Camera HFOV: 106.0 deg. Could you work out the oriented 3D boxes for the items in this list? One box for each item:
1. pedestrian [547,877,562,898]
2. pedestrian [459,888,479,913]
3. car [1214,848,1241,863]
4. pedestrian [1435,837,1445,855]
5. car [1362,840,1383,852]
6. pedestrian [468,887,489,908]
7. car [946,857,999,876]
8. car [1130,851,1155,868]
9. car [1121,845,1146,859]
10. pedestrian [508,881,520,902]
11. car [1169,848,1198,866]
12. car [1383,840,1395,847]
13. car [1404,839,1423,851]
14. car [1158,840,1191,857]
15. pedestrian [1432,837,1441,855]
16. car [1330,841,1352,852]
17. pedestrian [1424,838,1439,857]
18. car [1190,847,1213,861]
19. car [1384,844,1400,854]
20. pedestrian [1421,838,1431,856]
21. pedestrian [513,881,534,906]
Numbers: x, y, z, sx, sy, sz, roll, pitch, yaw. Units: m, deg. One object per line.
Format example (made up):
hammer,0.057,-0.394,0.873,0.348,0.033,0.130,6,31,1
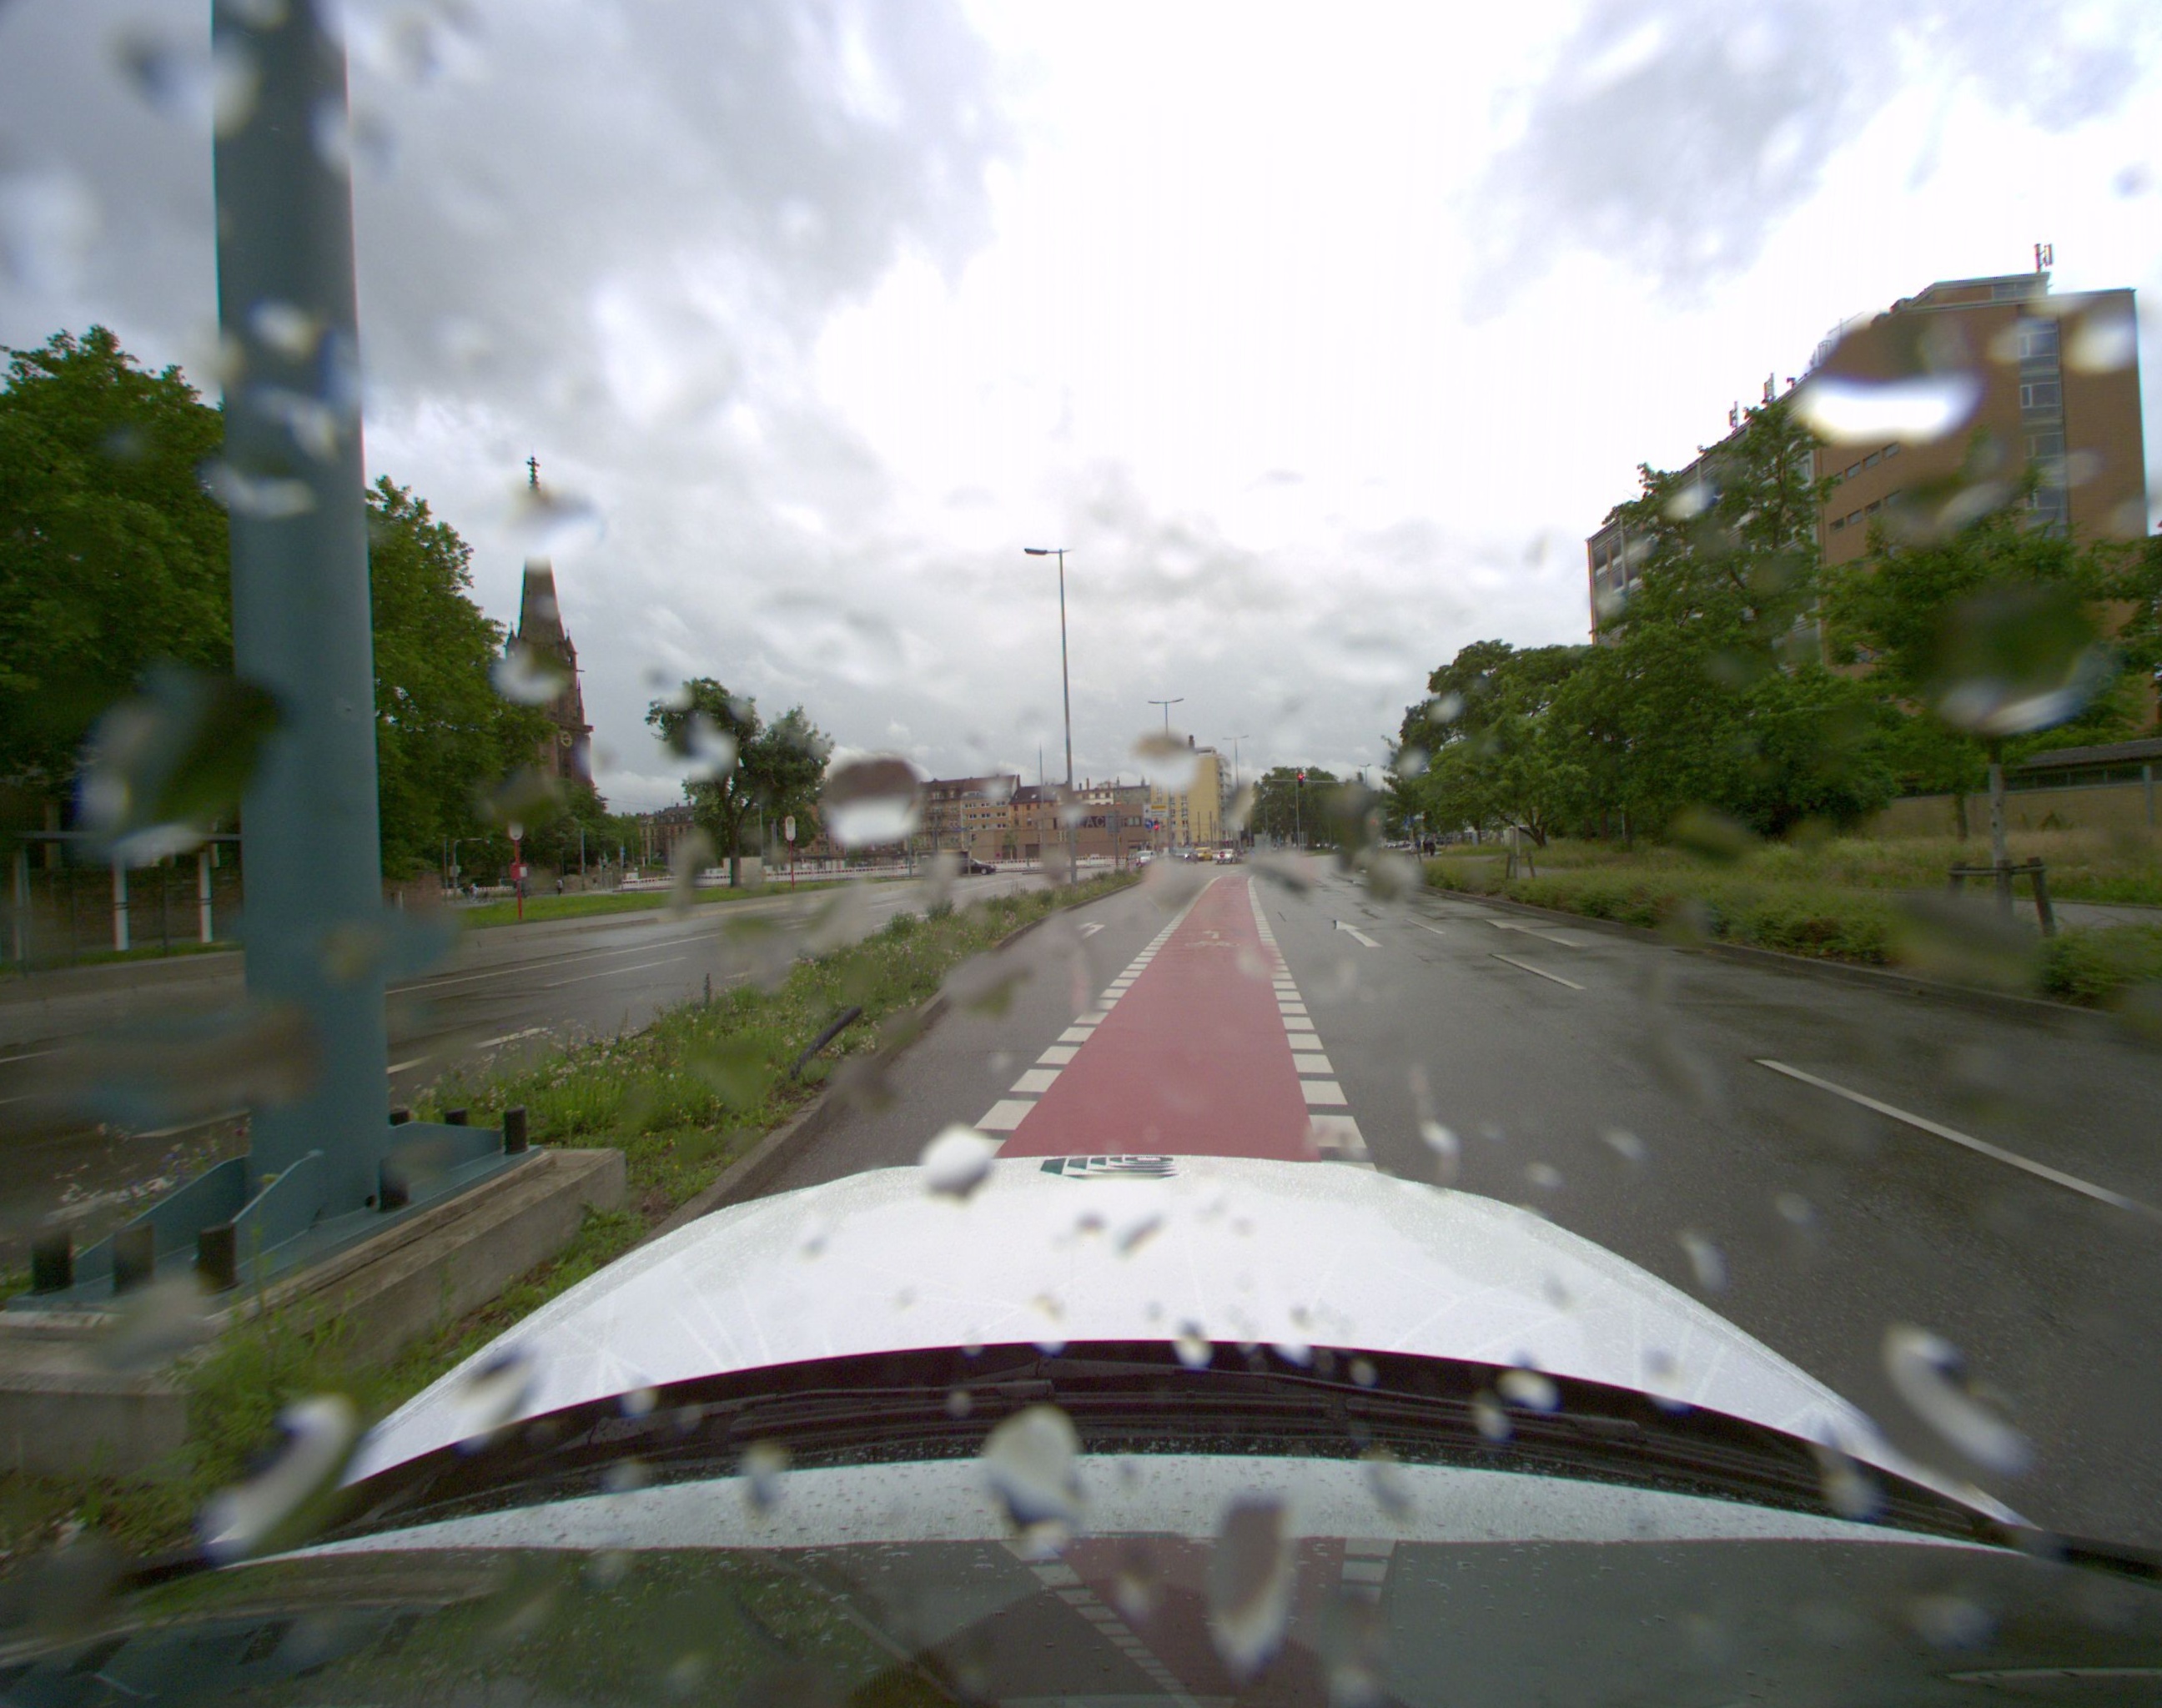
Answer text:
pedestrian,-45.730,2.926,70.714,0.719,1.777,0.777,-2,0,13
pedestrian,-52.001,3.937,69.230,0.850,2.013,0.960,-2,0,13
car,16.328,0.128,90.469,1.663,1.501,3.893,-3,0,29
pedestrian,31.569,-0.684,71.631,0.696,1.588,0.942,-2,0,23
car,43.050,-1.163,120.179,1.772,1.643,4.186,-2,0,34
pedestrian,-47.942,3.450,64.845,0.931,1.539,1.055,-2,0,-14
car,-9.368,1.085,70.252,4.169,1.402,1.621,-2,0,6
car,5.569,0.466,73.132,1.668,1.404,4.171,-3,0,11
car,11.873,-0.560,184.064,5.310,2.887,2.349,-3,0,15
pedestrian,-52.752,3.521,75.775,0.601,1.890,0.603,-2,0,7
car,10.736,0.313,85.036,1.977,1.636,4.626,-4,0,20
car,80.971,-2.792,214.142,1.772,1.643,4.186,-2,0,36
car,49.259,-1.389,120.675,1.772,1.643,4.186,-2,0,34
car,20.791,-1.246,181.396,6.691,3.380,2.821,-3,0,15
pedestrian,31.811,-0.697,72.873,0.696,1.588,0.942,-2,0,23
car,45.476,-1.350,142.152,1.808,1.682,5.199,-5,-1,39
pedestrian,28.902,-0.537,67.141,1.013,1.588,0.942,-2,0,23
car,15.626,-0.061,105.557,1.689,1.706,4.178,-2,0,27
car,64.306,-1.081,168.300,1.678,1.690,4.209,-3,2,43
pedestrian,30.988,-0.658,73.137,0.747,1.588,0.942,-2,0,23
pedestrian,-47.119,3.341,68.872,0.996,2.013,1.303,-2,0,-14
